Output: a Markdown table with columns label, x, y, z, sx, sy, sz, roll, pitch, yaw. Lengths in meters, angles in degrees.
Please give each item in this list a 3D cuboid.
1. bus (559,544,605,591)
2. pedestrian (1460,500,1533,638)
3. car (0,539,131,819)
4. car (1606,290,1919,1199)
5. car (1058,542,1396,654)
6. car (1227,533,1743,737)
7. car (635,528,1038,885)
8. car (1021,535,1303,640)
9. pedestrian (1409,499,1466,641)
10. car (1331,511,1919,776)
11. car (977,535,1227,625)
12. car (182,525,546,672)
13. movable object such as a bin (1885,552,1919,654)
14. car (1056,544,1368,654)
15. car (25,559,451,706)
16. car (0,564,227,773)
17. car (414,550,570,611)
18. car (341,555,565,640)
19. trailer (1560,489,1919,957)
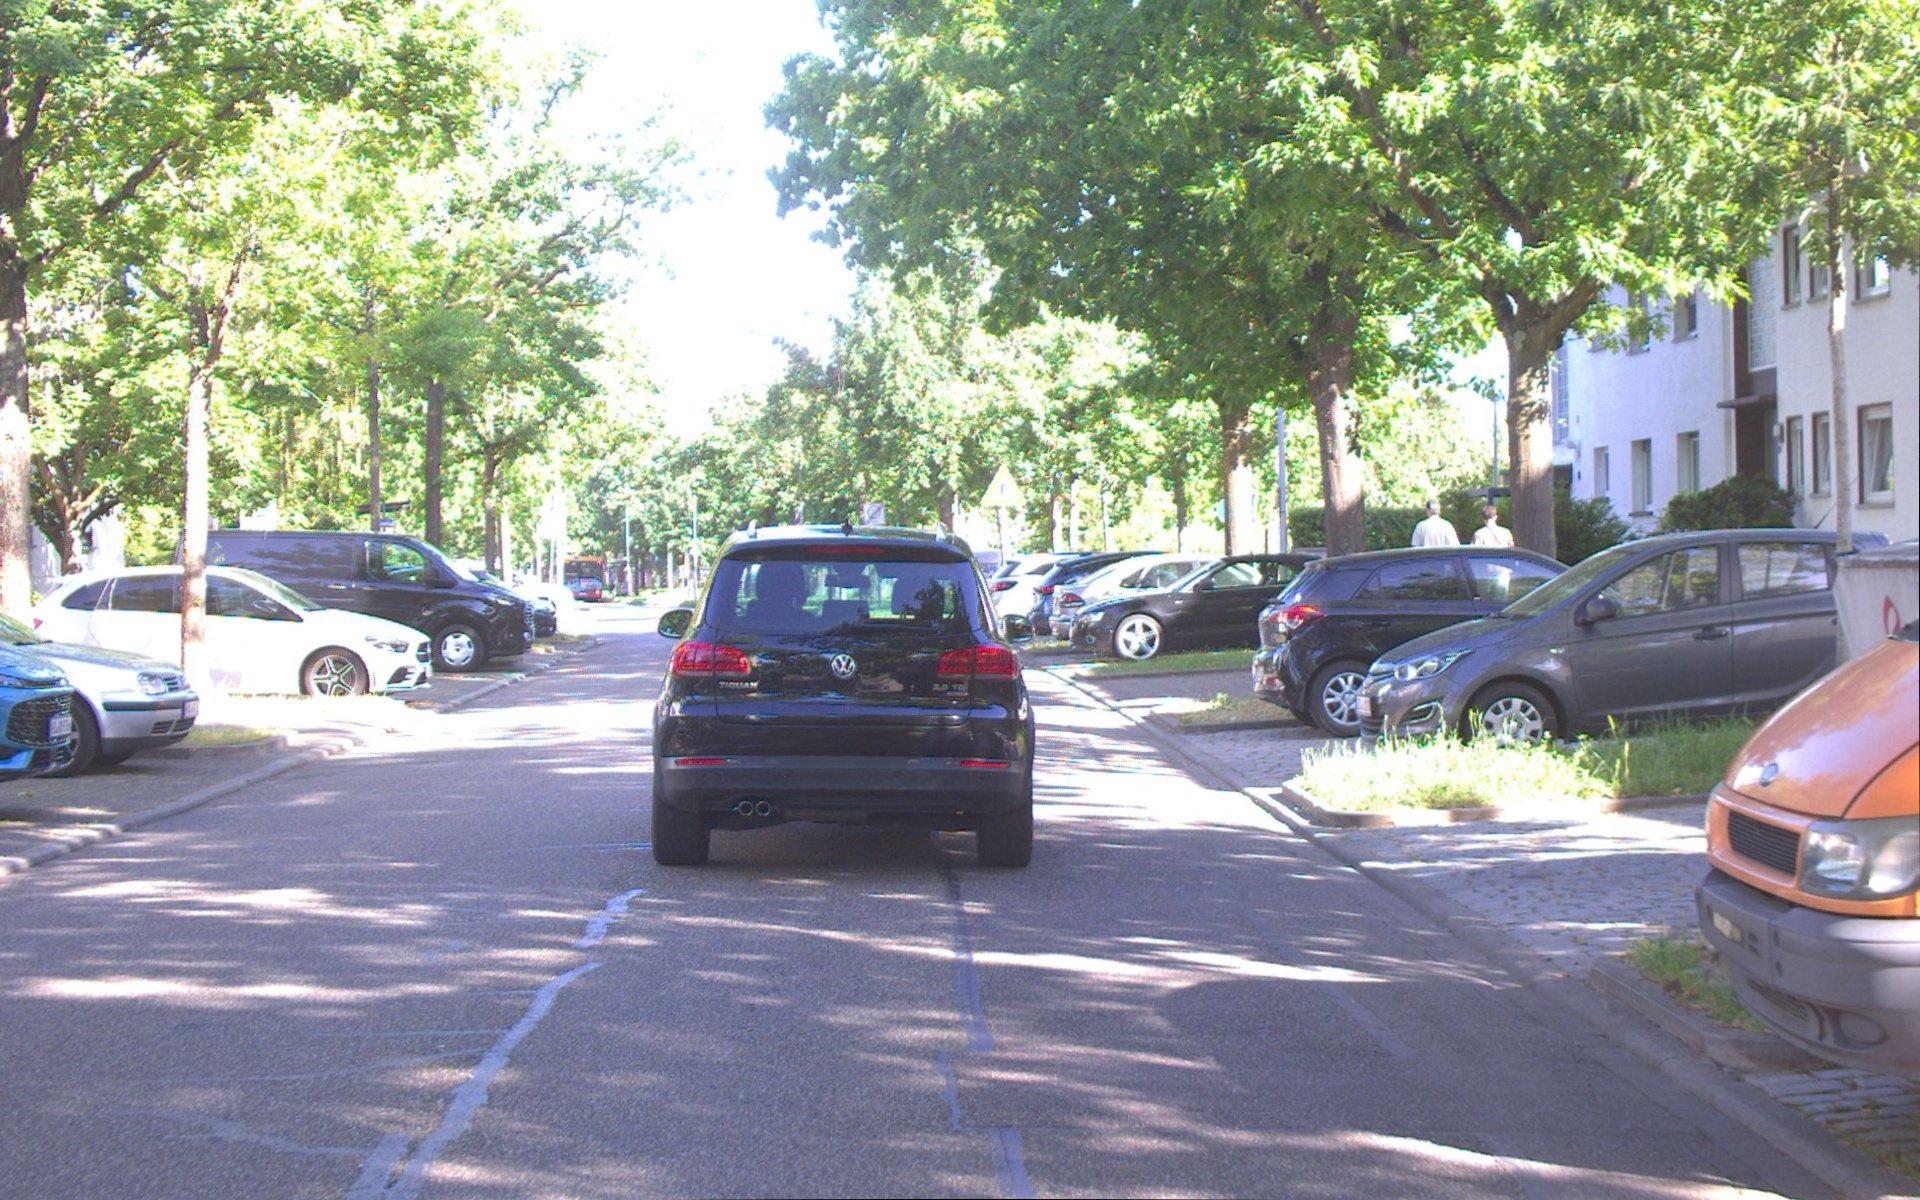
| label | x | y | z | sx | sy | sz | roll | pitch | yaw |
| --- | --- | --- | --- | --- | --- | --- | --- | --- | --- |
| bus | -24.798 | -2.122 | 225.761 | 2.928 | 2.993 | 5.738 | -1 | 0 | -6 |
| pedestrian | 7.201 | -0.417 | 46.171 | 0.835 | 1.822 | 0.710 | -1 | 0 | 0 |
| car | -7.572 | 0.507 | 20.993 | 4.524 | 1.625 | 1.937 | -1 | 0 | 0 |
| car | 4.256 | 0.275 | 8.615 | 4.818 | 2.076 | 2.086 | -2 | 1 | 0 |
| car | 3.578 | -0.032 | 46.548 | 4.345 | 1.358 | 1.874 | -2 | 0 | -2 |
| car | 4.195 | 0.274 | 27.862 | 3.882 | 1.511 | 1.661 | -1 | 0 | 0 |
| car | -0.528 | 0.464 | 17.734 | 1.838 | 1.631 | 3.958 | 0 | 1 | 1 |
| car | 3.153 | -0.208 | 54.235 | 4.276 | 1.498 | 1.797 | -2 | 1 | -1 |
| pedestrian | 6.419 | -0.399 | 46.233 | 0.608 | 1.867 | 0.924 | -1 | 0 | 0 |
| car | 4.645 | 0.269 | 23.026 | 3.986 | 1.618 | 1.758 | -1 | 0 | -6 |
| car | 2.567 | -0.378 | 62.986 | 4.428 | 1.486 | 1.797 | -2 | 1 | -1 |
| car | -8.289 | -0.035 | 48.145 | 4.778 | 1.910 | 2.019 | -1 | 1 | -3 |
| movable object such as a bin | 10.605 | 0.026 | 37.571 | 0.703 | 1.095 | 0.906 | -1 | 0 | -2 |
| car | 3.578 | -0.028 | 49.280 | 4.276 | 1.409 | 1.797 | -2 | 1 | -1 |
| car | -7.853 | 0.336 | 37.671 | 4.275 | 1.473 | 1.769 | -1 | 1 | -1 |
| car | -7.768 | 0.531 | 25.756 | 4.182 | 1.487 | 1.647 | -1 | 0 | 0 |
| car | -13.134 | -0.540 | 96.706 | 4.241 | 1.617 | 1.897 | -1 | 0 | -6 |
| car | -9.265 | -0.055 | 63.054 | 3.857 | 1.454 | 1.713 | -1 | 1 | -1 |
| trailer | 4.055 | 0.391 | 13.455 | 2.945 | 1.658 | 1.615 | -3 | 0 | -6 |
